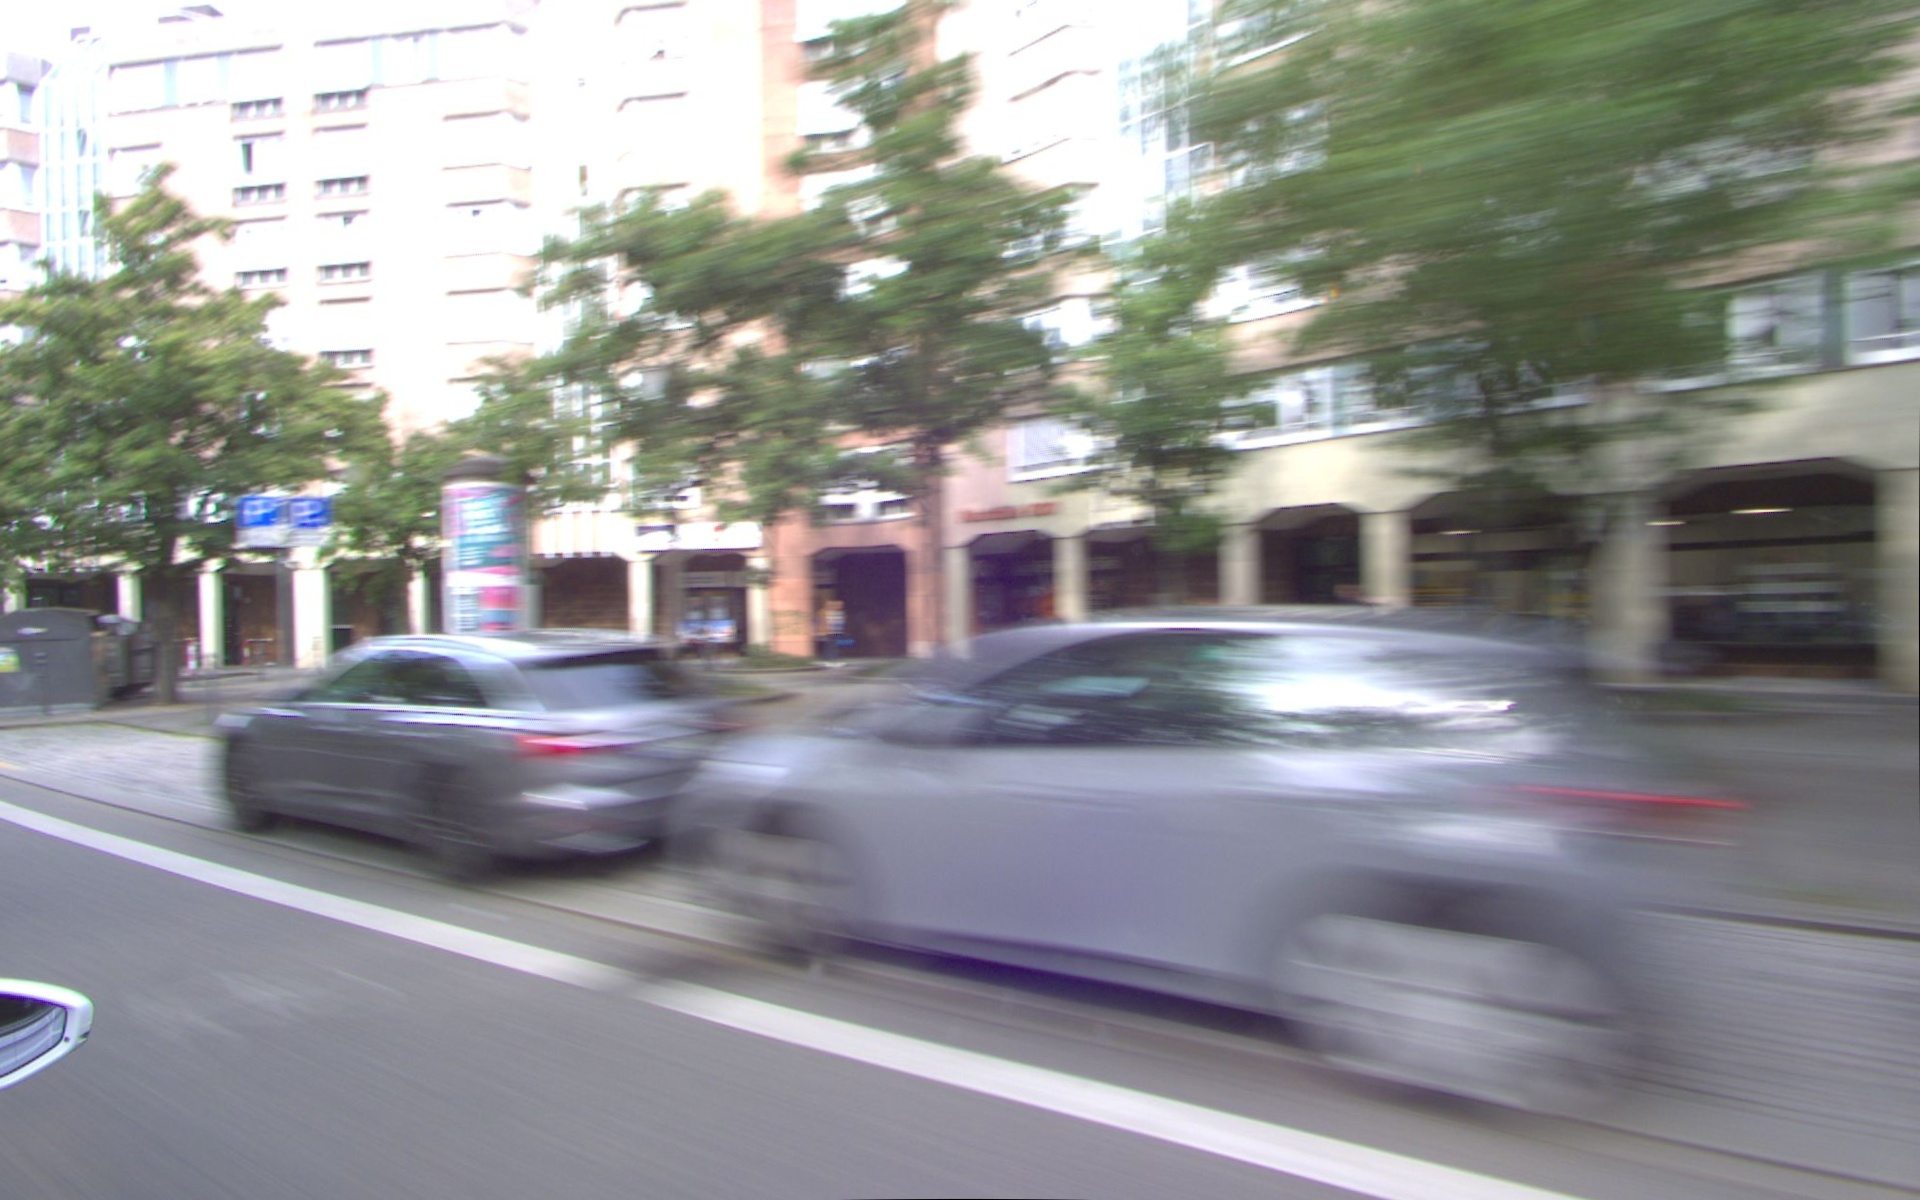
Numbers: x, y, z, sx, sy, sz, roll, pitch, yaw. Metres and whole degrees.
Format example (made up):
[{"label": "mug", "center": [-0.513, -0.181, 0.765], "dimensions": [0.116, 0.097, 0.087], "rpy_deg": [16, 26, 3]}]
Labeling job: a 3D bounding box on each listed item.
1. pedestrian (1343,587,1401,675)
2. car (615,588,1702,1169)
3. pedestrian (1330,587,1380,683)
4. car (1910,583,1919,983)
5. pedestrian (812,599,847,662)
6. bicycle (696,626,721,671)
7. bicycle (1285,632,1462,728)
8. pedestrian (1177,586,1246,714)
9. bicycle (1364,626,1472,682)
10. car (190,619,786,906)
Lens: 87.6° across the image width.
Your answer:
[{"label": "pedestrian", "center": [7.631, 0.562, 18.536], "dimensions": [0.790, 1.576, 0.706], "rpy_deg": [0, 1, 44]}, {"label": "car", "center": [0.584, 0.757, 4.547], "dimensions": [4.338, 1.539, 1.736], "rpy_deg": [-1, 1, 32]}, {"label": "pedestrian", "center": [7.116, 0.630, 18.022], "dimensions": [0.673, 1.684, 0.602], "rpy_deg": [-1, 0, 41]}, {"label": "car", "center": [5.096, 0.697, 2.135], "dimensions": [4.141, 1.539, 1.712], "rpy_deg": [-1, 1, 30]}, {"label": "pedestrian", "center": [-3.588, 0.831, 27.476], "dimensions": [0.842, 1.684, 0.530], "rpy_deg": [-1, 0, 43]}, {"label": "bicycle", "center": [-6.552, 1.241, 26.122], "dimensions": [0.586, 1.127, 1.962], "rpy_deg": [-1, -1, -13]}, {"label": "bicycle", "center": [4.766, 0.889, 11.629], "dimensions": [1.840, 1.026, 0.483], "rpy_deg": [-1, -1, 40]}, {"label": "pedestrian", "center": [3.291, 0.641, 13.094], "dimensions": [0.673, 1.607, 0.602], "rpy_deg": [-1, 0, 41]}, {"label": "bicycle", "center": [8.853, 1.023, 19.412], "dimensions": [1.840, 1.026, 0.483], "rpy_deg": [-1, -1, 40]}, {"label": "car", "center": [-3.593, 0.906, 7.300], "dimensions": [4.601, 1.462, 1.812], "rpy_deg": [-1, 0, 34]}]
